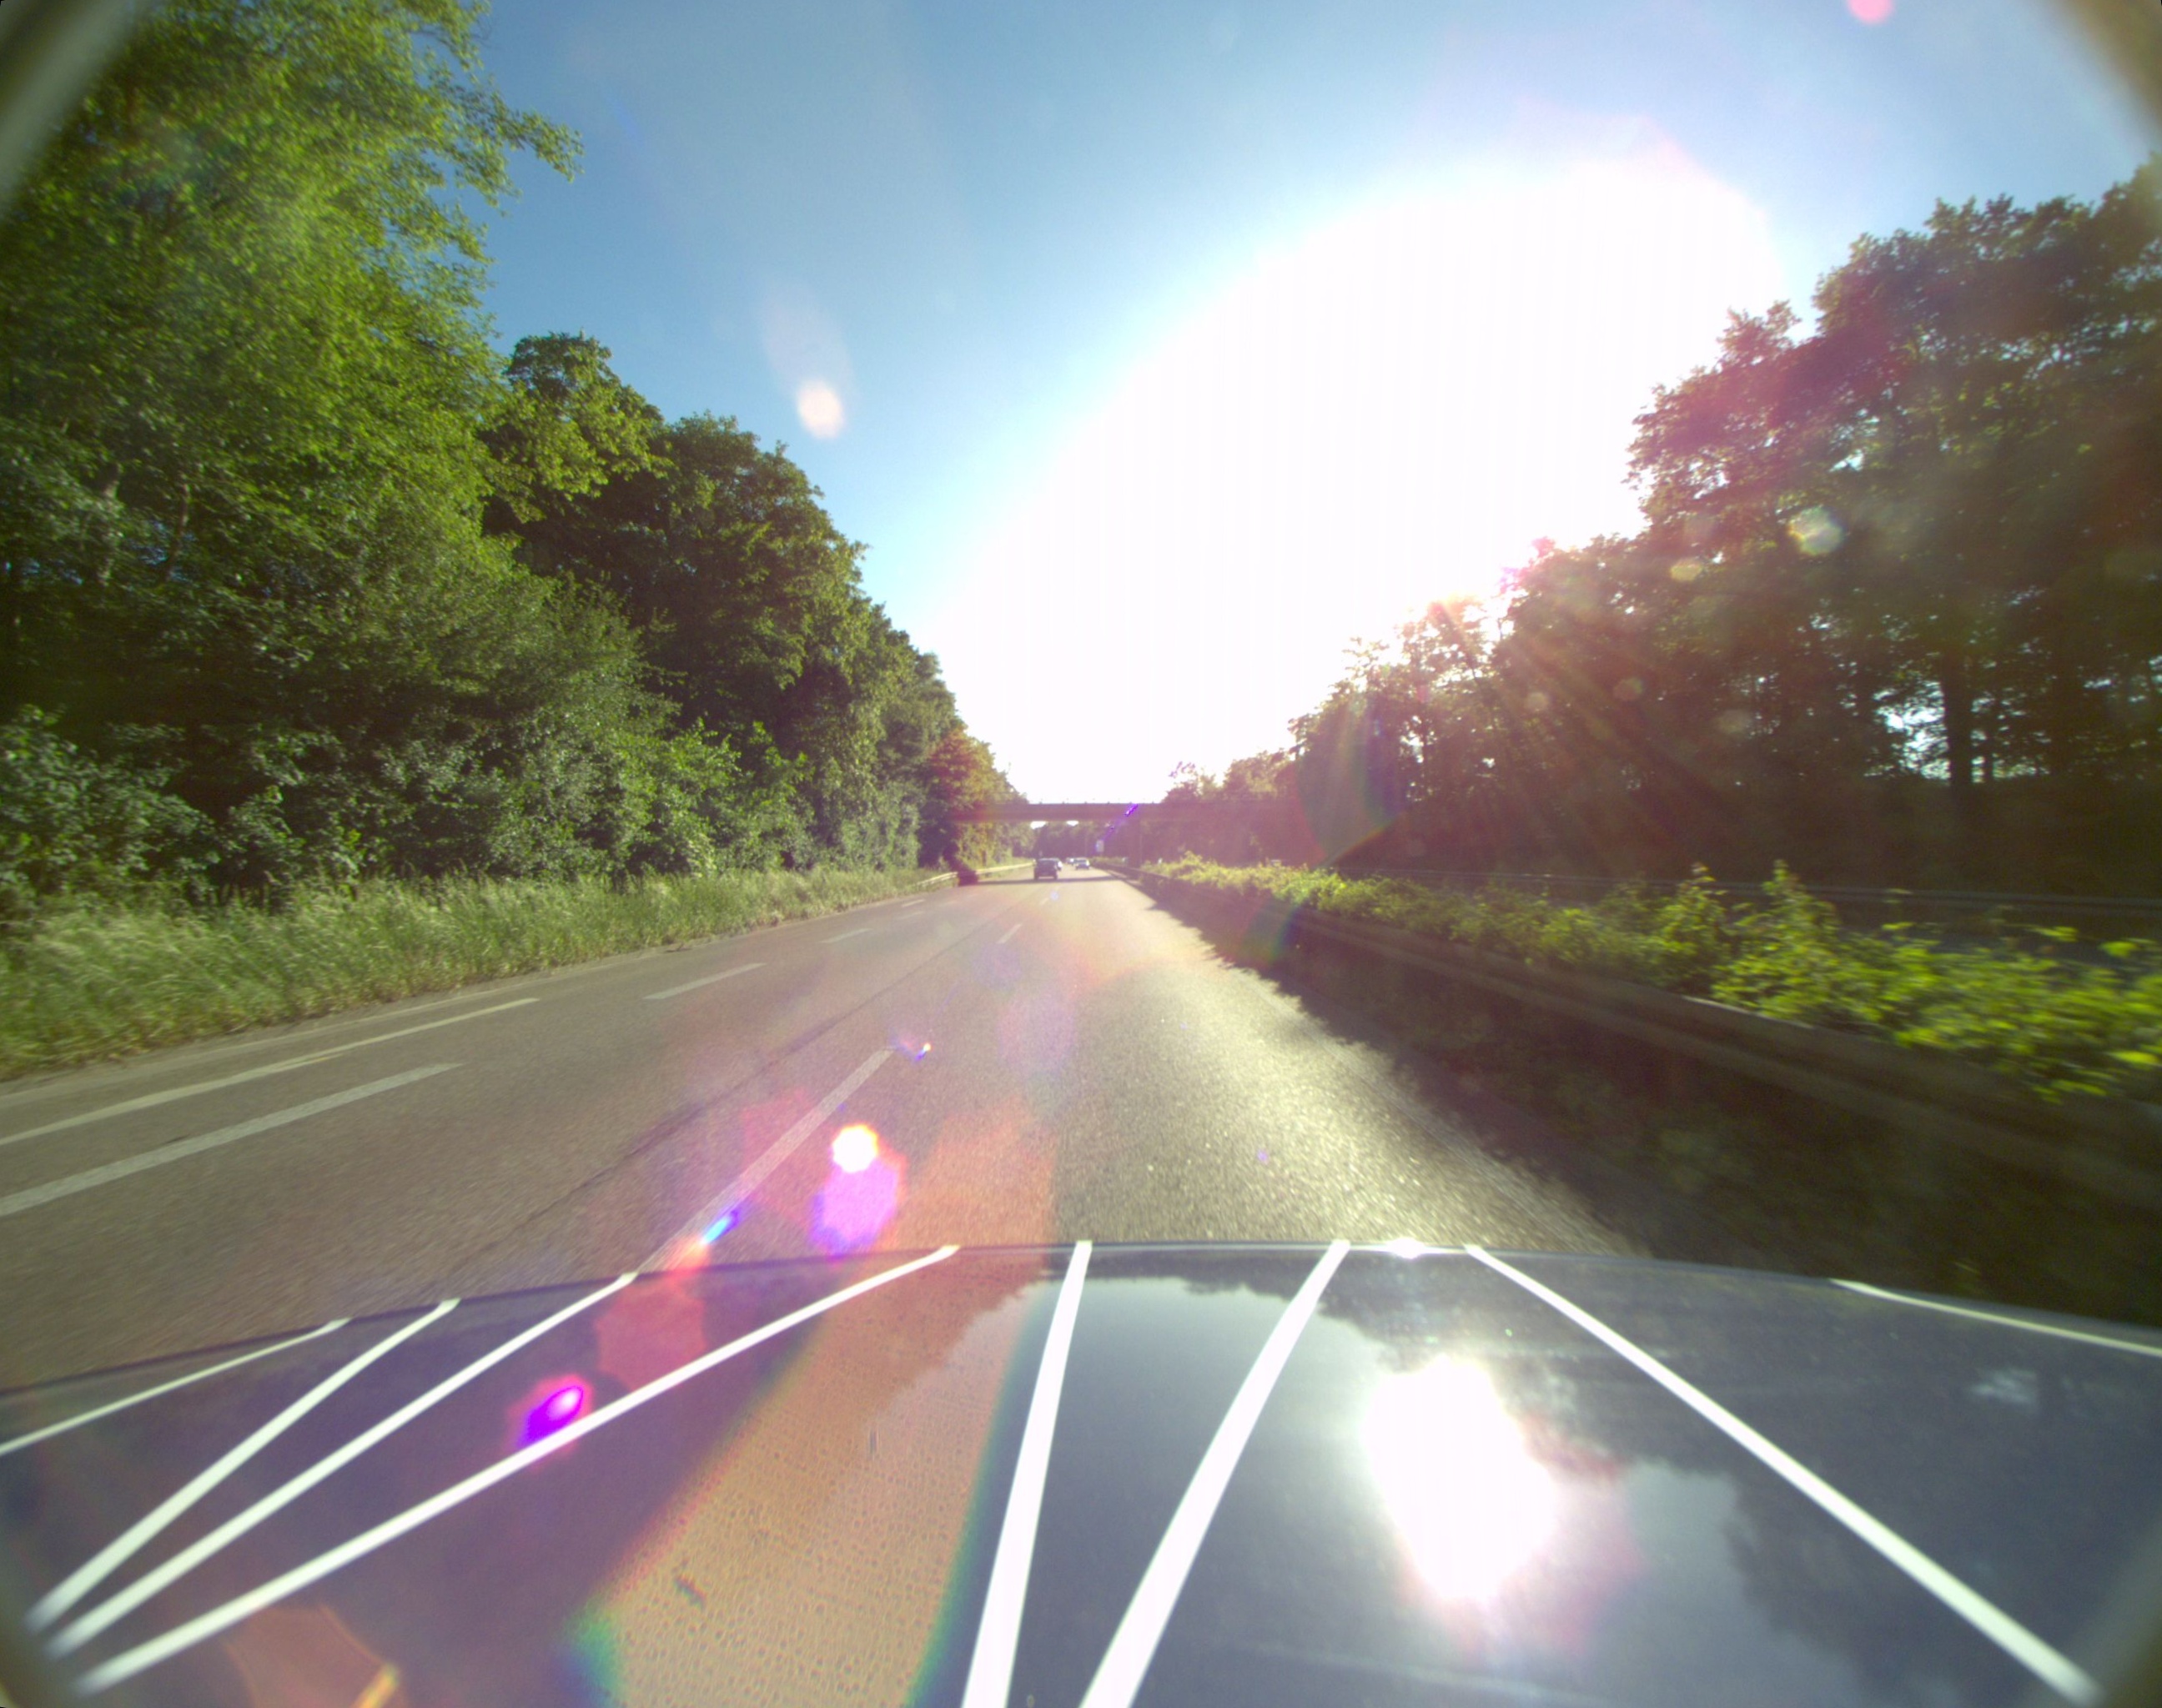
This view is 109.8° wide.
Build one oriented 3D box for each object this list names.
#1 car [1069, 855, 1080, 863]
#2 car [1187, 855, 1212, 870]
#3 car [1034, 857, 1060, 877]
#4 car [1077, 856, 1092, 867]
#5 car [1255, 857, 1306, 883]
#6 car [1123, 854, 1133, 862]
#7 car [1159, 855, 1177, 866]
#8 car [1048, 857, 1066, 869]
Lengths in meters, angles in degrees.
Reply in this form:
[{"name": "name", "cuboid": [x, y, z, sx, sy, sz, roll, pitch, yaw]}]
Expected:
[{"name": "car", "cuboid": [-1.339, 0.983, 148.883, 1.801, 1.453, 4.400, 0, 0, -5]}, {"name": "car", "cuboid": [12.964, 0.908, 83.442, 1.966, 1.441, 4.583, -2, 0, -1]}, {"name": "car", "cuboid": [-2.623, 0.998, 59.762, 1.801, 1.453, 4.355, -2, 0, -1]}, {"name": "car", "cuboid": [0.418, 1.006, 102.821, 1.904, 1.453, 4.355, -1, 0, -1]}, {"name": "car", "cuboid": [12.213, 0.950, 46.844, 1.966, 1.441, 4.326, -2, 0, -1]}, {"name": "car", "cuboid": [10.698, 0.879, 171.842, 1.965, 1.649, 5.040, -1, 0, 0]}, {"name": "car", "cuboid": [12.753, 0.927, 111.496, 1.966, 1.441, 4.706, -1, 0, 0]}, {"name": "car", "cuboid": [-3.033, 1.082, 95.413, 1.802, 1.453, 4.353, -1, 0, -7]}]
